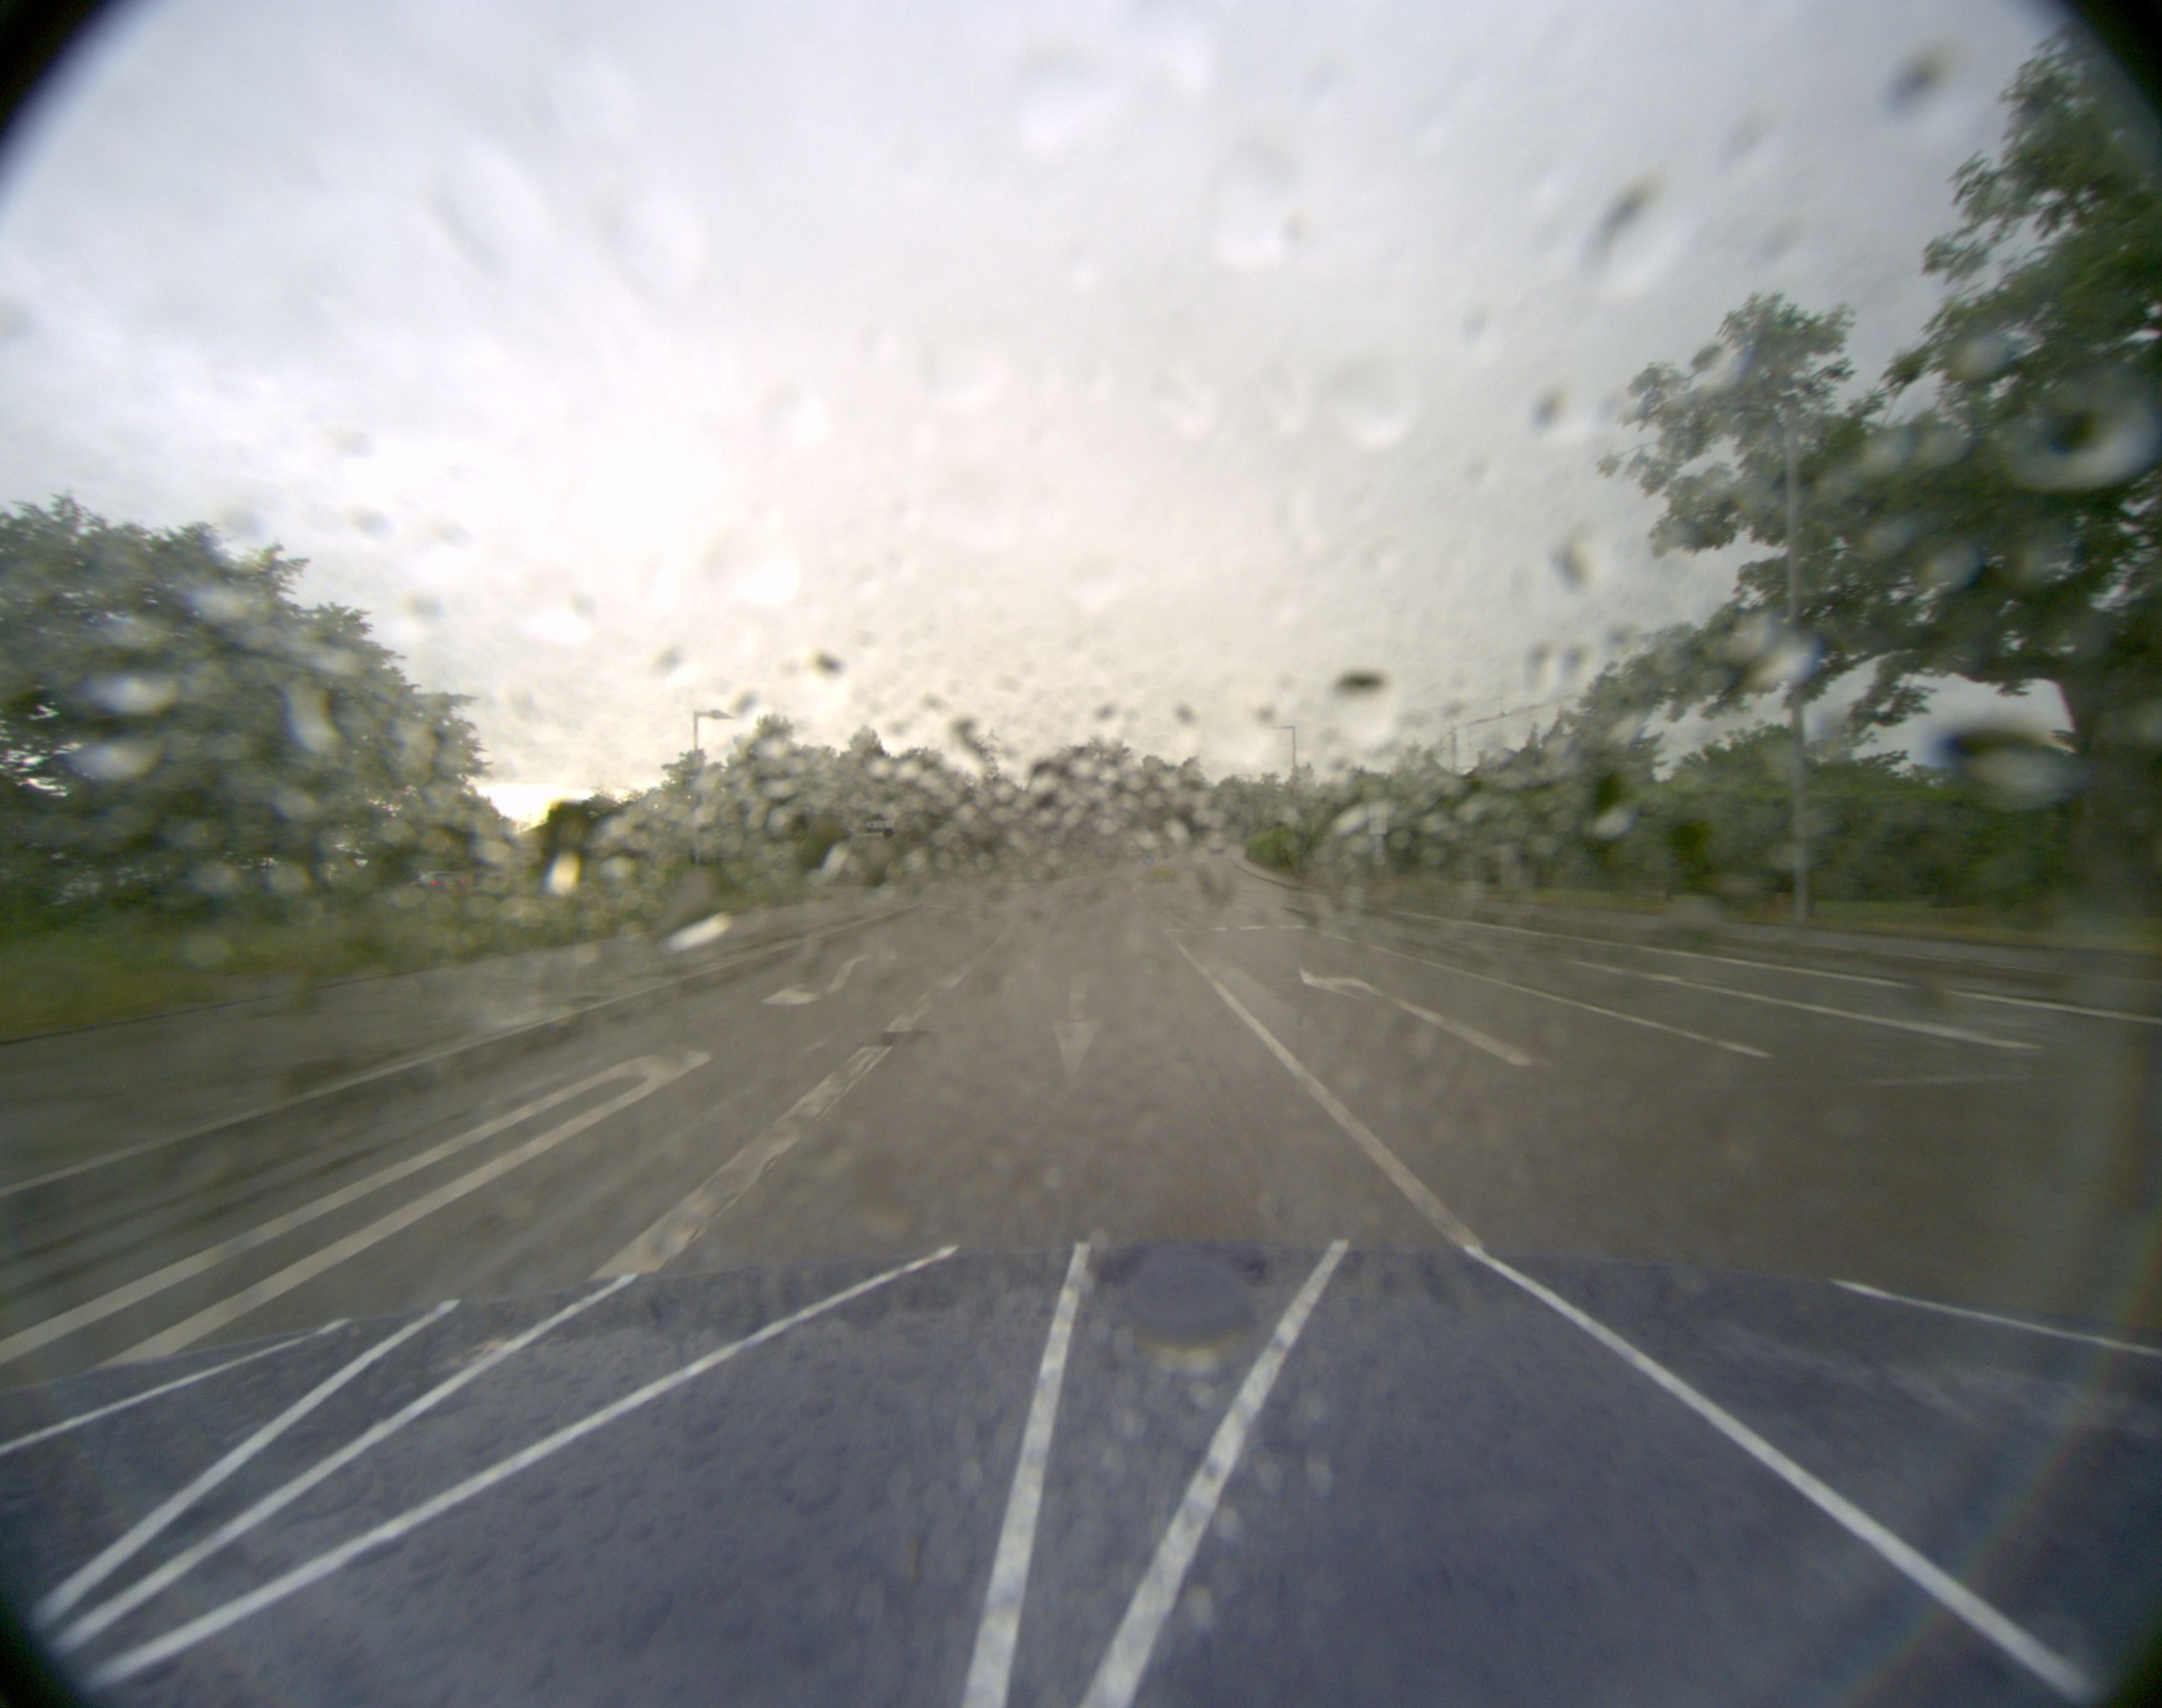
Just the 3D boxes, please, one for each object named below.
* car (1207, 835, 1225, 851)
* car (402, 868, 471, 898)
[{"bbox_3d":[17.668,-1.458,99.217,1.965,2.002,4.003,-1,1,13],"label":"car"},{"bbox_3d":[-35.815,1.593,42.222,3.601,1.495,1.819,-1,1,31],"label":"car"}]
